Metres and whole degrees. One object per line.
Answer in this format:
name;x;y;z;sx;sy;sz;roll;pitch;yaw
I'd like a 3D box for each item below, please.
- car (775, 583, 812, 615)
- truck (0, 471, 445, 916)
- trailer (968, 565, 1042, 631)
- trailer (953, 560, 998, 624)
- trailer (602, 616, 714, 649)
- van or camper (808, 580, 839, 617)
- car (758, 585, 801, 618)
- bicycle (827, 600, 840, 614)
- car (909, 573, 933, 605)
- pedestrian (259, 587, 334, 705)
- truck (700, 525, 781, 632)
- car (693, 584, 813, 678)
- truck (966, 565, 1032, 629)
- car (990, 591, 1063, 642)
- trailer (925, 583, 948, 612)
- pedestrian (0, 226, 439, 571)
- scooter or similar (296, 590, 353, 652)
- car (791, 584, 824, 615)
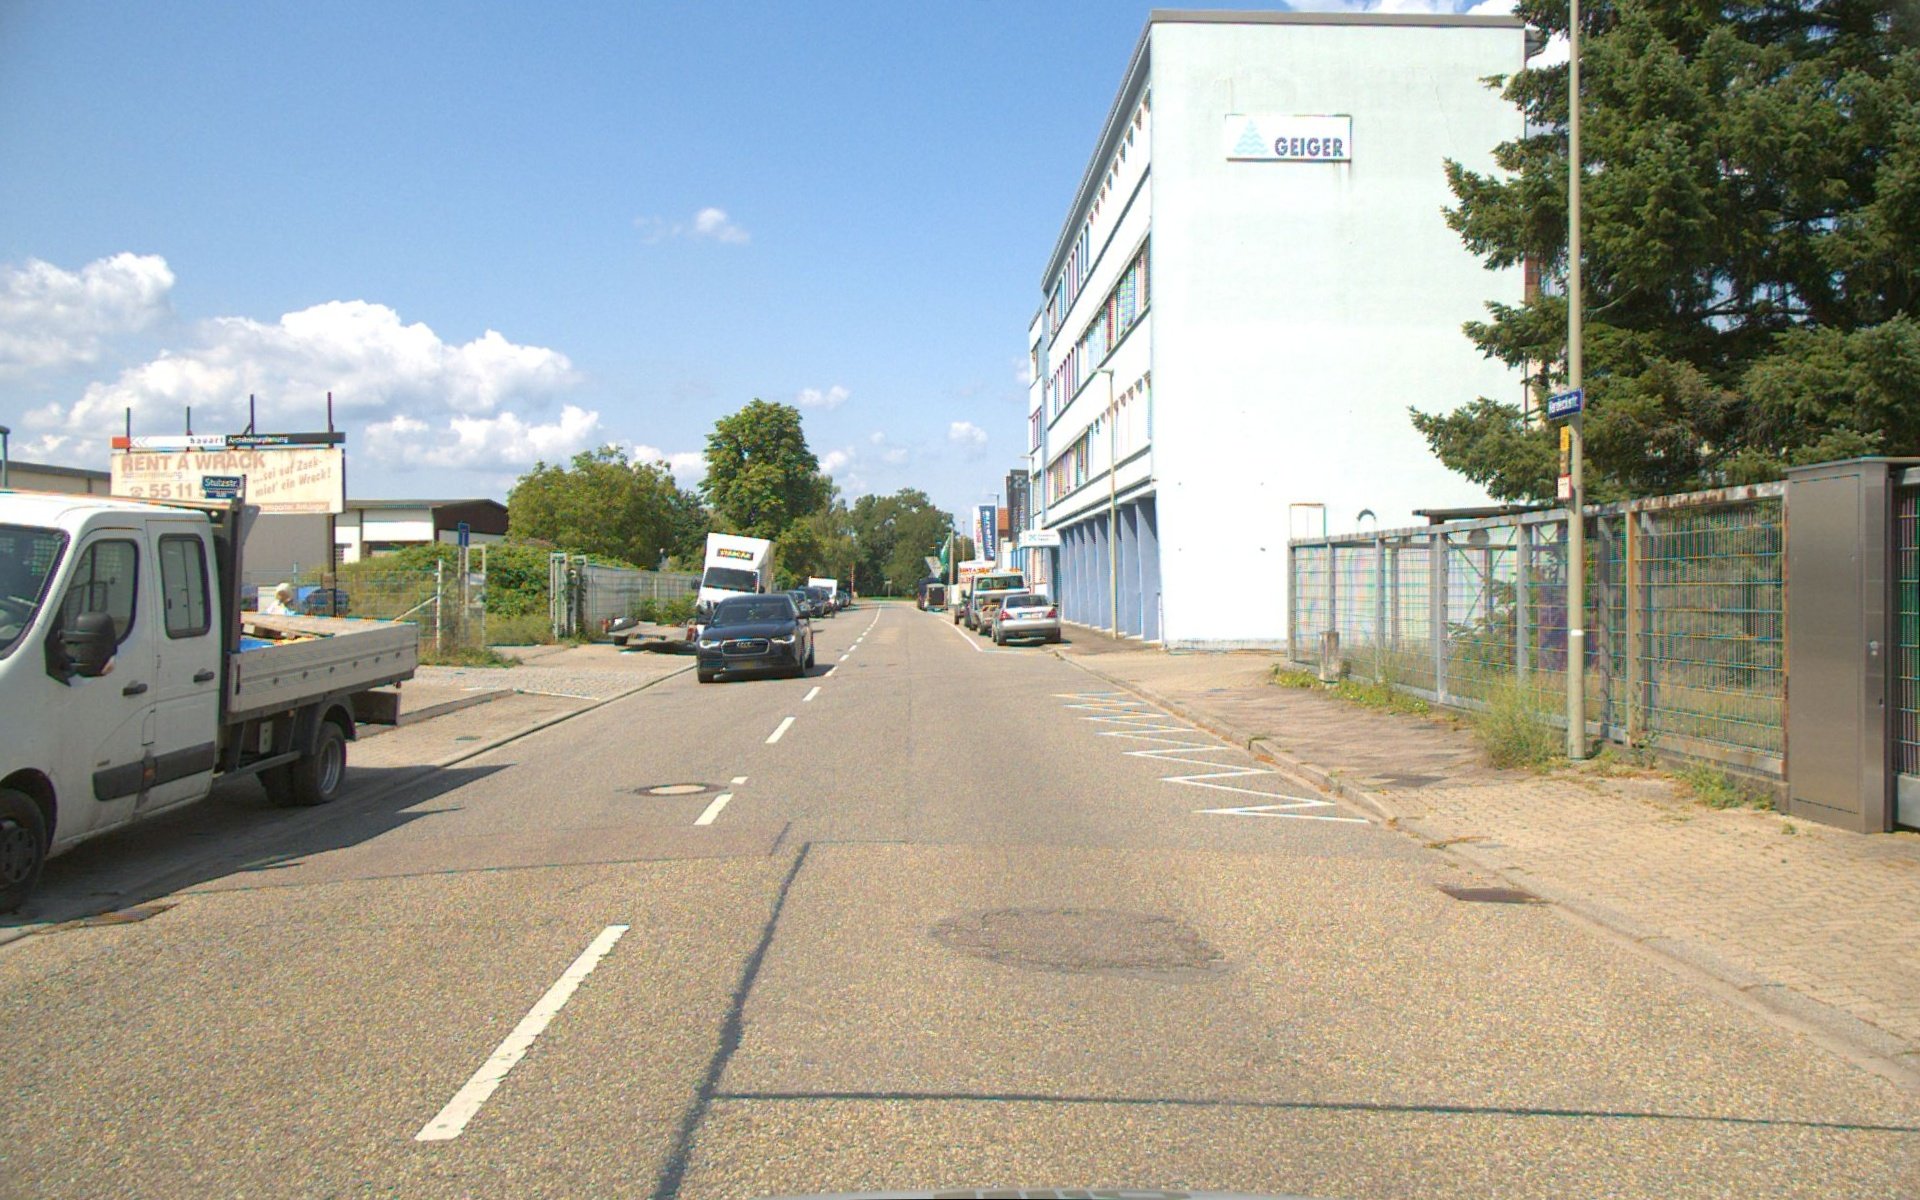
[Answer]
car;-8.351;-0.057;83.269;1.583;1.509;3.708;2;0;-3
truck;-5.904;0.414;11.682;2.084;2.278;7.349;2;0;0
trailer;1.402;-0.077;53.438;1.934;2.005;5.763;0;0;-3
trailer;0.642;-0.337;69.235;1.830;2.598;5.072;0;0;0
trailer;-7.462;0.787;41.326;2.191;0.561;4.442;4;0;-3
van or camper;-11.148;-0.115;135.418;2.218;2.852;6.827;4;0;-4
car;-8.556;0.070;78.554;1.537;1.423;3.798;5;0;-1
bicycle;-6.987;0.371;91.268;0.575;0.754;2.125;0;0;0
car;-3.537;-1.000;148.645;1.899;2.796;6.150;0;0;-4
pedestrian;-9.036;0.615;22.548;0.646;1.572;0.918;0;0;-1
truck;-7.389;-0.722;56.281;2.205;3.421;6.902;0;0;-3
car;-3.626;0.501;29.652;1.750;1.463;4.306;-4;1;-3
truck;1.285;-0.111;56.668;1.925;2.071;4.731;0;0;-3
car;1.746;0.409;44.502;1.614;1.268;3.998;0;1;-3
trailer;-1.791;-0.181;124.519;1.569;2.073;2.739;1;0;-3
pedestrian;-5.492;-1.301;12.355;1.953;2.049;3.999;1;0;-1
scooter or similar;-13.734;0.442;35.758;0.882;1.297;0.876;0;0;44
car;-8.877;-0.019;96.571;1.765;1.780;4.710;0;0;-3
